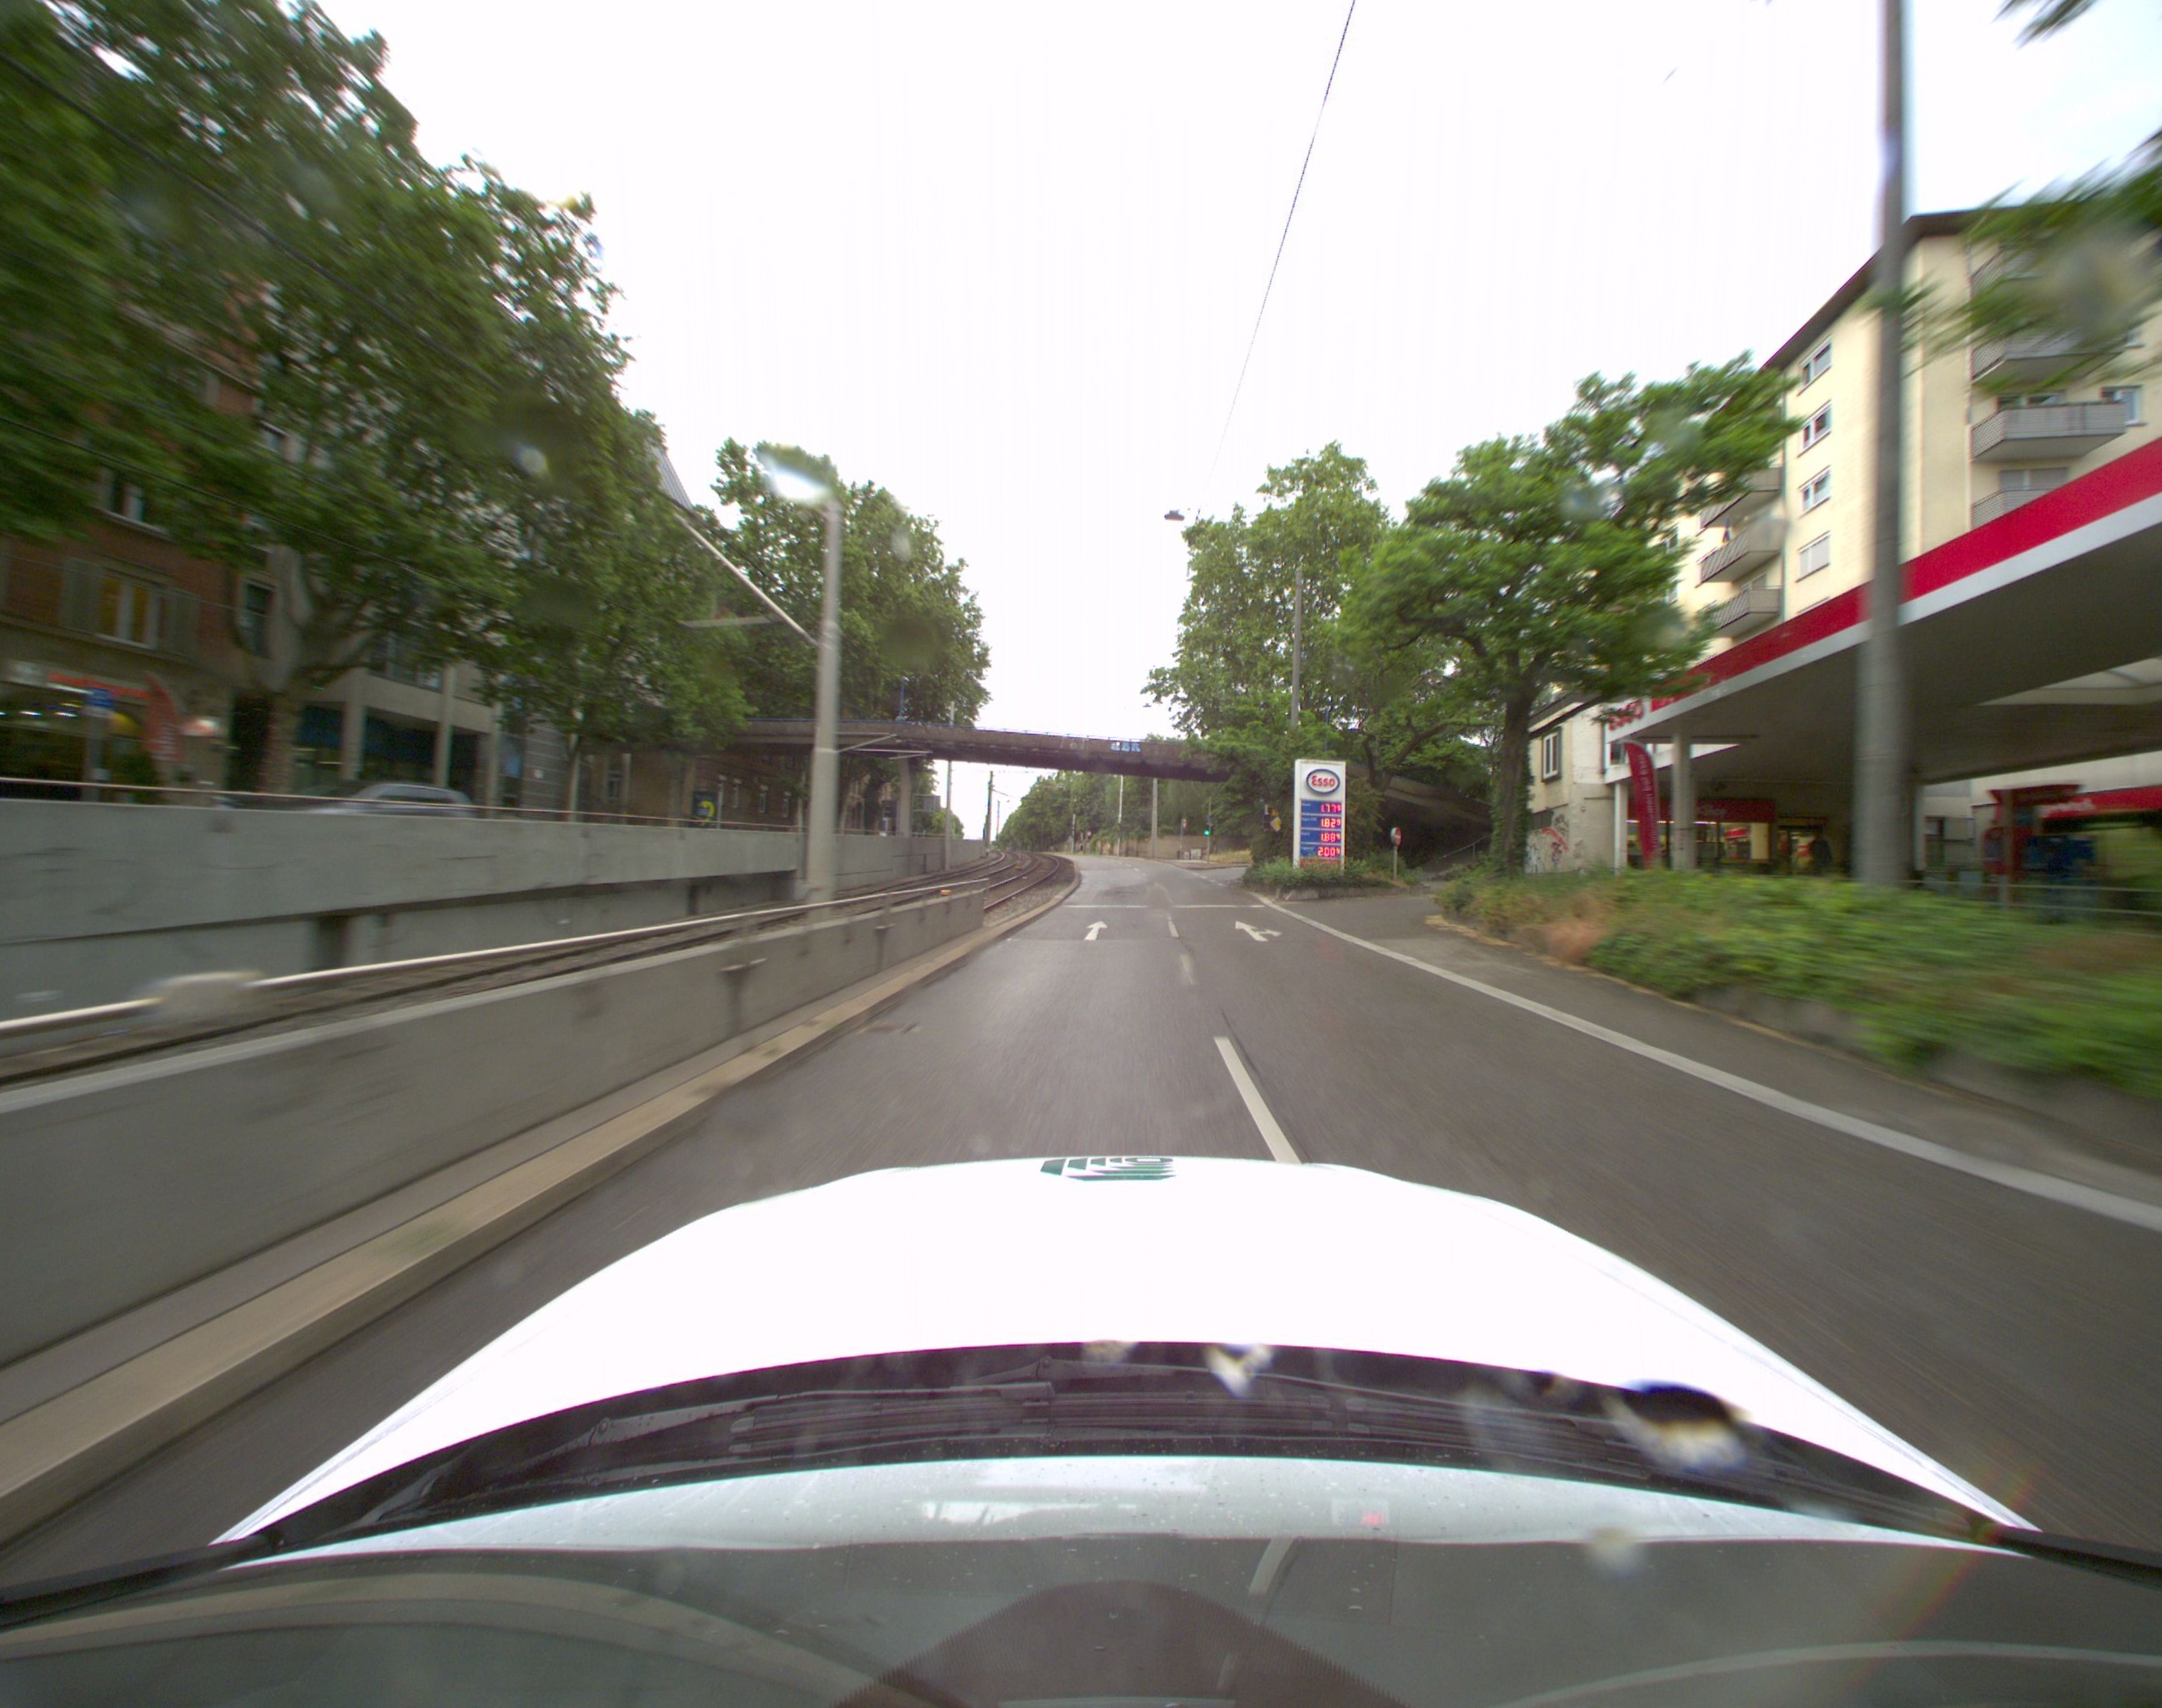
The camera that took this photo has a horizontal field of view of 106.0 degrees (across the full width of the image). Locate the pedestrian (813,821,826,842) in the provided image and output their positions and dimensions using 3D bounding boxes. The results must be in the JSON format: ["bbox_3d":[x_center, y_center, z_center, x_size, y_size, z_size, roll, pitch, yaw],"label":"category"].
[{"bbox_3d":[-20.133,-1.748,62.705,0.589,1.624,0.725,0,1,12],"label":"pedestrian"}]

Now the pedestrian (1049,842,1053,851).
[{"bbox_3d":[-5.612,-1.379,152.882,0.719,1.687,0.727,3,-1,-8],"label":"pedestrian"}]

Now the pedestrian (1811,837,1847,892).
[{"bbox_3d":[26.084,0.361,28.395,0.689,1.870,0.667,4,-1,-27],"label":"pedestrian"}]

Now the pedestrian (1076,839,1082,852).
[{"bbox_3d":[-0.365,-1.312,124.092,0.719,1.850,0.781,3,-1,-8],"label":"pedestrian"}]

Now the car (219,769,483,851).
[{"bbox_3d":[-15.800,-0.874,17.978,1.785,1.510,4.115,4,1,6],"label":"car"}]

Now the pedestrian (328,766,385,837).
[{"bbox_3d":[-21.538,-1.535,24.224,0.665,2.013,0.937,4,-1,8],"label":"pedestrian"}]

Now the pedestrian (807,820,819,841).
[{"bbox_3d":[-20.831,-1.794,63.292,0.589,1.624,0.725,0,1,12],"label":"pedestrian"}]
